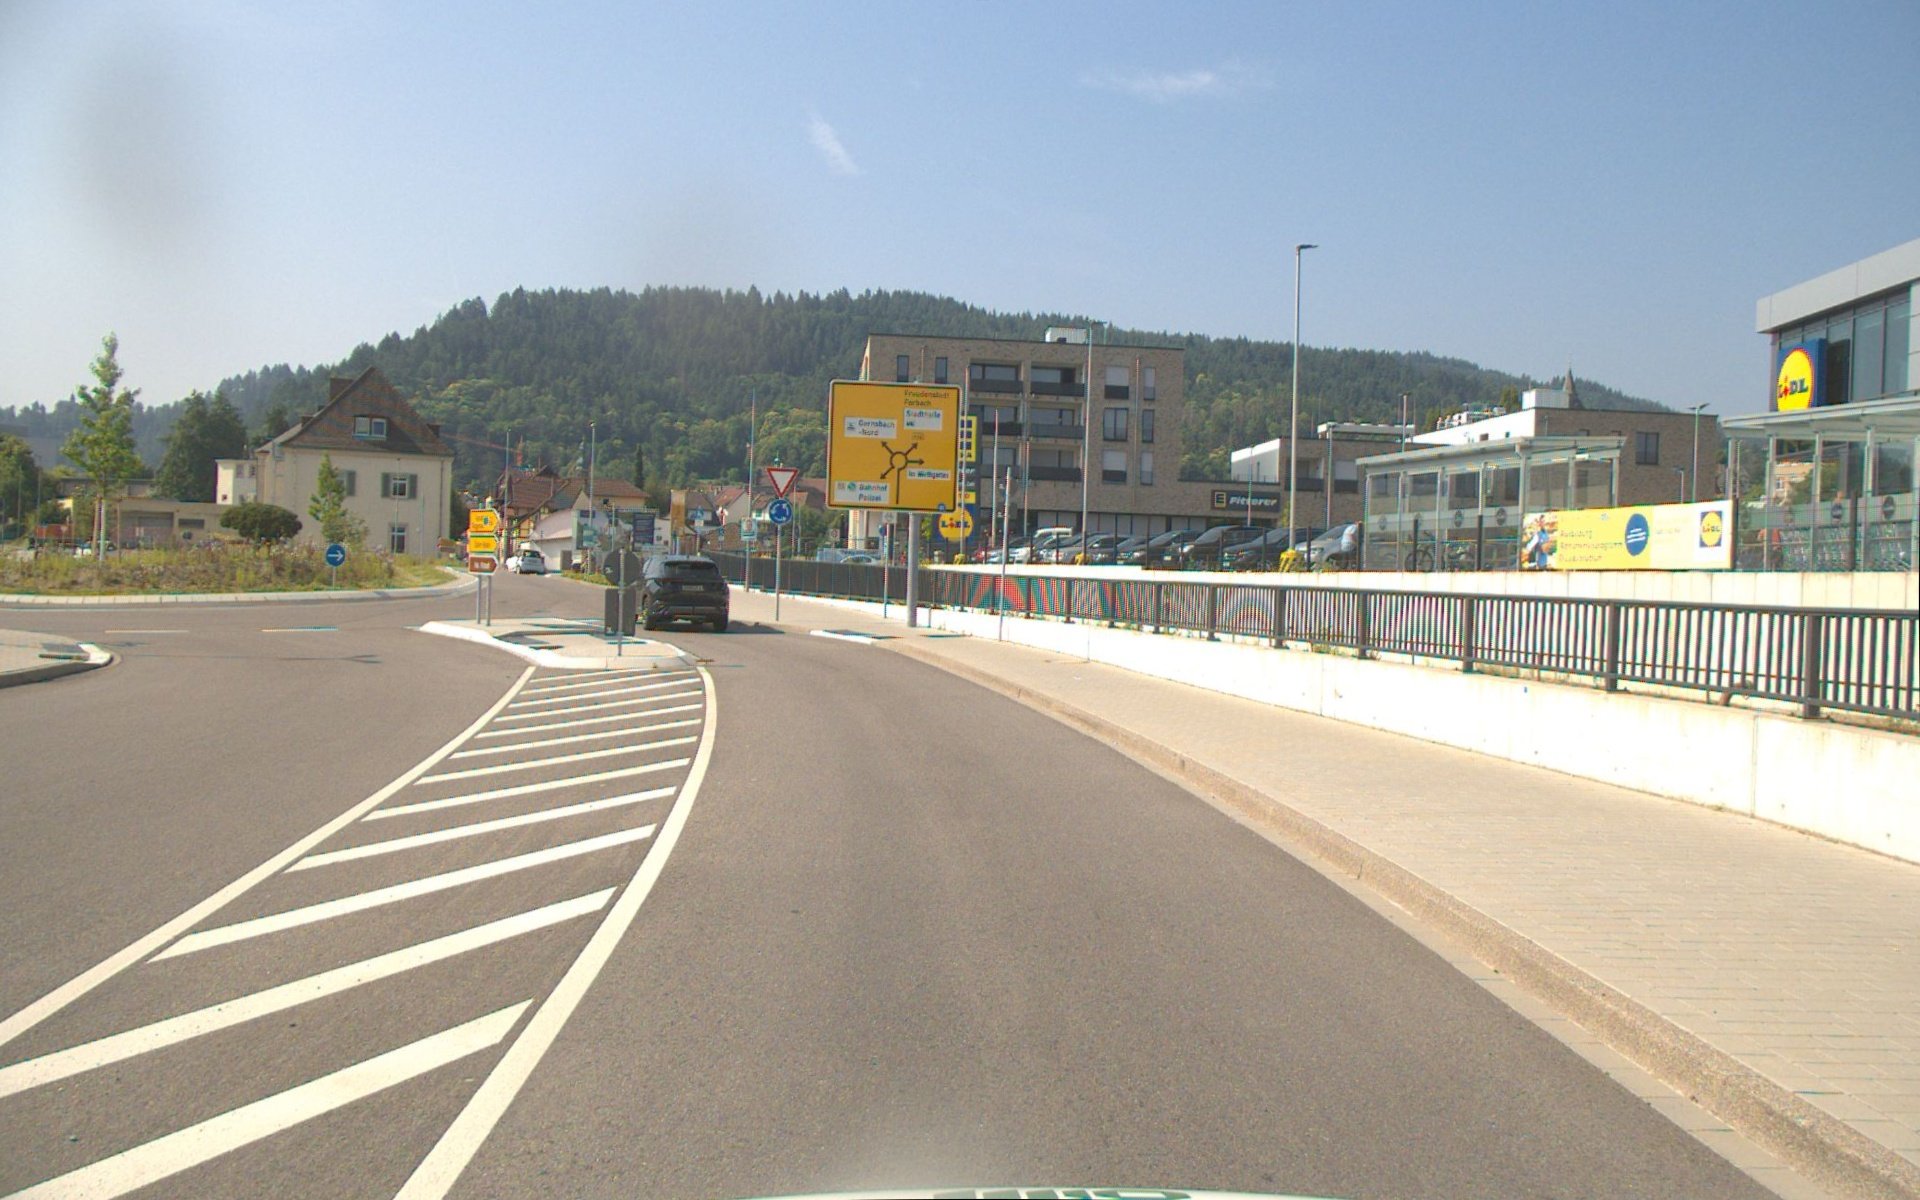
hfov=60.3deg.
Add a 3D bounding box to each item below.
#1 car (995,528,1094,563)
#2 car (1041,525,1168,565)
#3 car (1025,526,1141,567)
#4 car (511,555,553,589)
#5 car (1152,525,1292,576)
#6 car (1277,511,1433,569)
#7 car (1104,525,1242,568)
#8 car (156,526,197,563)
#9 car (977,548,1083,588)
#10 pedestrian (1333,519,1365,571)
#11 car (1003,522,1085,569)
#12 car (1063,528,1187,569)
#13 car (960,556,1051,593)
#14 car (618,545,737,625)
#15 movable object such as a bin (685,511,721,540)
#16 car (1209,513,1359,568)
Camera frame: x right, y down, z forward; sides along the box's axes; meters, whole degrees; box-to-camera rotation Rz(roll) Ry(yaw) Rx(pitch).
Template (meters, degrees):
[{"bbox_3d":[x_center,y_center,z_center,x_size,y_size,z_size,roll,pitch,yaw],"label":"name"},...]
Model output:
[{"bbox_3d":[3.325,-2.147,65.011,3.502,1.220,1.705,1,1,-19],"label":"car"},{"bbox_3d":[5.203,-1.967,59.577,4.215,1.267,1.655,1,1,-20],"label":"car"},{"bbox_3d":[4.577,-2.000,61.586,3.976,1.365,1.651,1,1,-19],"label":"car"},{"bbox_3d":[-26.334,-1.724,101.834,1.955,2.049,3.994,1,1,-7],"label":"car"},{"bbox_3d":[8.081,-1.515,51.064,3.945,1.428,1.715,1,1,-20],"label":"car"},{"bbox_3d":[10.578,-1.601,44.345,3.749,1.388,1.671,1,1,-20],"label":"car"},{"bbox_3d":[6.960,-1.746,54.141,4.150,1.267,1.734,1,1,-20],"label":"car"},{"bbox_3d":[-44.577,-3.171,94.181,1.784,2.048,3.975,1,2,-21],"label":"car"},{"bbox_3d":[2.878,-1.306,67.824,3.991,1.513,1.709,1,1,-17],"label":"car"},{"bbox_3d":[10.072,-1.416,42.879,0.538,1.335,0.654,1,0,-17],"label":"pedestrian"},{"bbox_3d":[4.105,-2.644,80.882,3.904,2.173,2.001,1,0,2],"label":"car"},{"bbox_3d":[5.676,-1.764,56.940,3.907,1.267,1.720,1,1,-20],"label":"car"},{"bbox_3d":[1.938,-1.102,70.377,3.502,1.455,1.702,1,1,-19],"label":"car"},{"bbox_3d":[-6.507,-0.358,37.771,1.855,1.713,3.973,1,1,-22],"label":"car"},{"bbox_3d":[-17.350,-5.043,111.624,2.399,1.876,1.425,1,0,-11],"label":"movable object such as a bin"},{"bbox_3d":[9.283,-1.698,47.386,4.001,1.428,1.478,1,1,-20],"label":"car"}]
